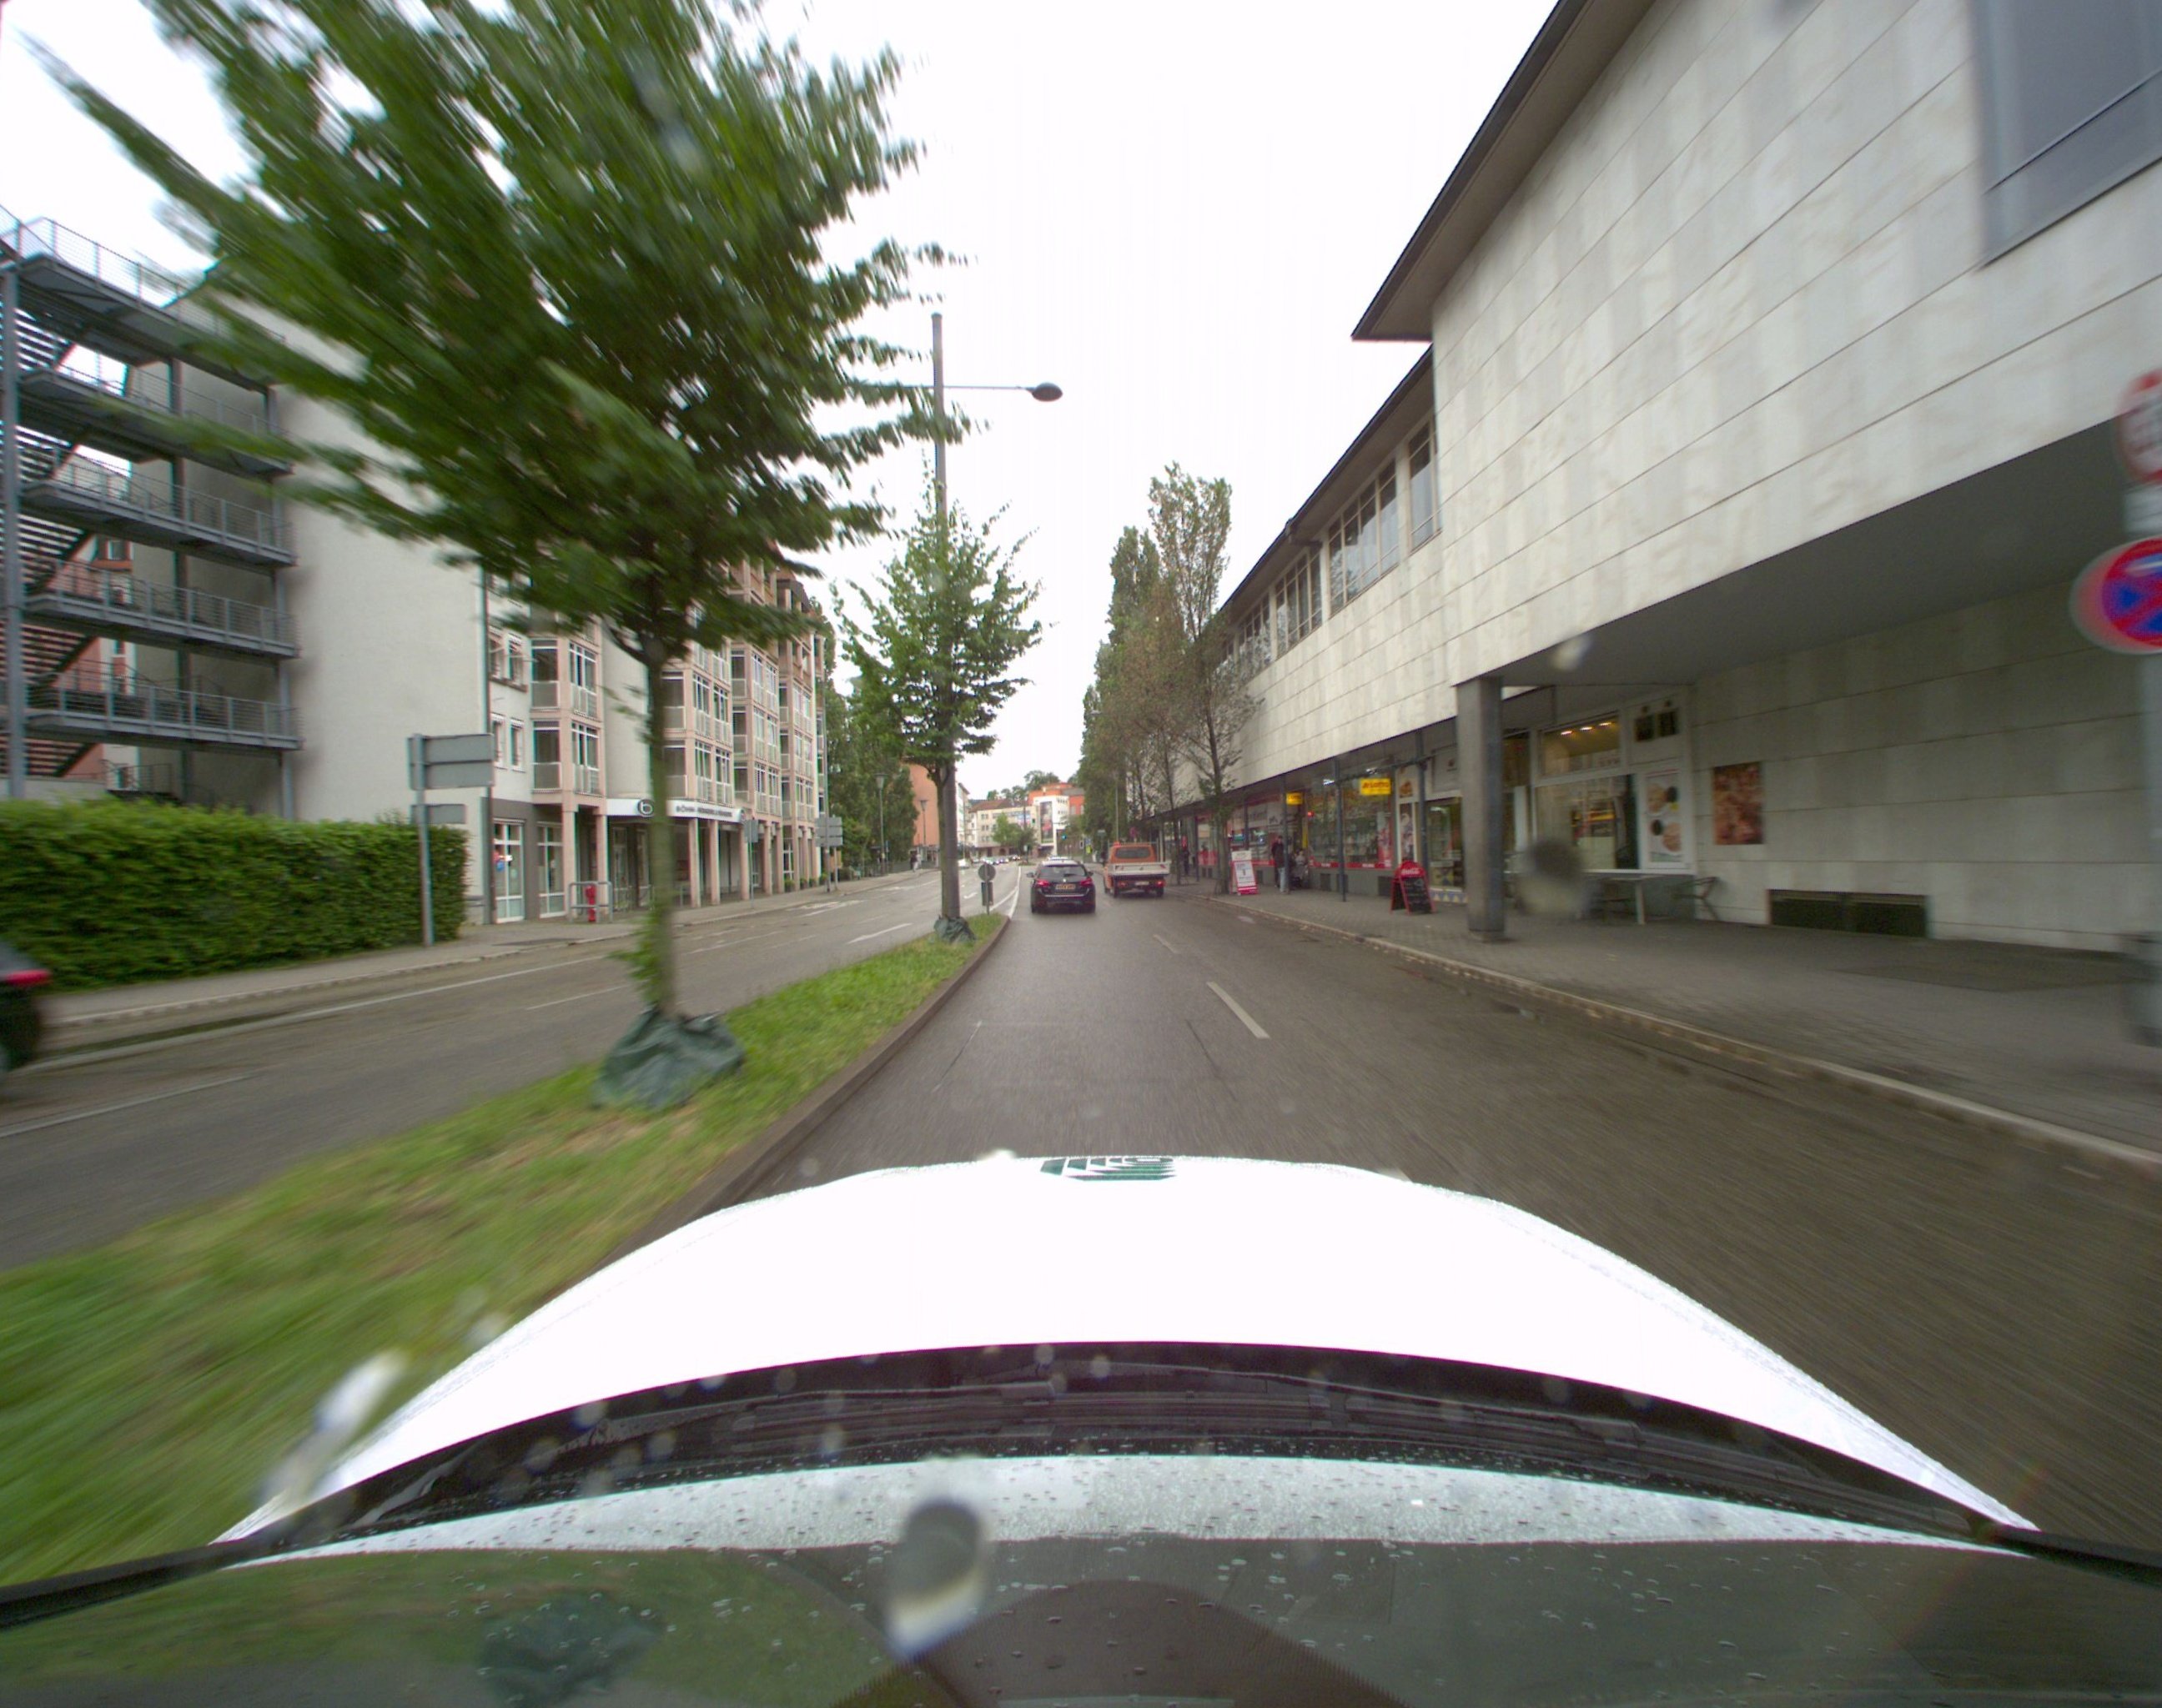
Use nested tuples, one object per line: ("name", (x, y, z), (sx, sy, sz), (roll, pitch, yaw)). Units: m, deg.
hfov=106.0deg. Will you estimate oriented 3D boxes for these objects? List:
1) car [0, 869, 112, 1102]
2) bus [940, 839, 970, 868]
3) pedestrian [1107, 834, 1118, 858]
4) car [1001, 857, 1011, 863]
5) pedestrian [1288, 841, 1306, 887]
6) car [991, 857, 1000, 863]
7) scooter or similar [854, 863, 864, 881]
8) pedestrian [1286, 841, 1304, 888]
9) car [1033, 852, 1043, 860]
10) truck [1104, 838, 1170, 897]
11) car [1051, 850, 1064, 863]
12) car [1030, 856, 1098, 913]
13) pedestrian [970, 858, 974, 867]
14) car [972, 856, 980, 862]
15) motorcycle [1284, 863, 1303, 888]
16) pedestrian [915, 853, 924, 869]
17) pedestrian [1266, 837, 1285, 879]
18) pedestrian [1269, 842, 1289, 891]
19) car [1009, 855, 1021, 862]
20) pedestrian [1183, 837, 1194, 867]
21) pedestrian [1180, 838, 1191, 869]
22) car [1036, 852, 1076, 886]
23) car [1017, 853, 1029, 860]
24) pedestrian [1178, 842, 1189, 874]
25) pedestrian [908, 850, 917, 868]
("car", (-9.156, 1.043, 4.689), (1.819, 1.736, 4.263), (-4, -1, 4))
("bus", (-14.414, -0.206, 93.865), (2.740, 3.075, 12.213), (-2, 1, -6))
("pedestrian", (2.427, -0.620, 62.770), (0.652, 1.767, 0.921), (-3, 0, -4))
("car", (-17.531, 1.460, 190.307), (1.792, 1.325, 4.391), (-2, 0, -10))
("pedestrian", (7.473, 0.346, 28.152), (0.427, 1.566, 0.509), (-3, 0, 0))
("car", (-18.624, 1.287, 177.895), (1.788, 1.325, 4.399), (-2, 0, -5))
("scooter or similar", (-17.507, 1.436, 64.184), (0.481, 1.313, 1.568), (-2, 2, -8))
("pedestrian", (7.243, 0.344, 27.590), (0.386, 1.566, 0.429), (-3, 0, -6))
("car", (-10.422, 0.527, 198.591), (1.992, 1.684, 3.989), (-2, 0, -8))
("truck", (2.040, 0.517, 30.937), (2.115, 2.025, 4.713), (-1, -1, -1))
("car", (-3.257, 0.358, 110.712), (1.641, 1.564, 3.594), (1, -3, -4))
("car", (-0.508, 0.835, 23.595), (1.790, 1.483, 3.997), (0, -1, -2))
("pedestrian", (-23.288, 1.786, 173.883), (0.732, 2.014, 0.650), (3, -4, -37))
("car", (-26.981, 1.336, 209.138), (1.662, 1.399, 3.870), (-3, 0, -5))
("motorcycle", (7.196, 0.723, 27.645), (0.323, 0.804, 0.919), (-3, 1, -4))
("pedestrian", (-17.453, 0.750, 87.847), (0.795, 1.794, 0.812), (-1, -1, -2))
("pedestrian", (7.263, 0.145, 30.394), (0.425, 1.566, 0.513), (-3, 0, 42))
("pedestrian", (6.497, 0.394, 26.701), (0.428, 1.566, 0.508), (-3, 0, -6))
("car", (-16.653, 1.149, 205.945), (1.654, 1.564, 3.566), (2, -3, -29))
("pedestrian", (6.255, -0.094, 47.514), (0.534, 1.719, 0.535), (-2, 0, 6))
("pedestrian", (6.002, -0.032, 46.939), (0.534, 1.719, 0.535), (-2, 0, 4))
("car", (-1.221, 0.709, 39.454), (1.791, 1.483, 3.996), (-2, 0, -3))
("car", (-14.964, 0.651, 209.866), (1.654, 1.564, 3.566), (2, -3, -29))
("pedestrian", (5.835, 0.232, 46.344), (0.534, 1.820, 0.535), (-2, 0, 4))
("pedestrian", (-16.406, 0.499, 79.257), (0.696, 1.794, 0.958), (-1, -1, -1))
